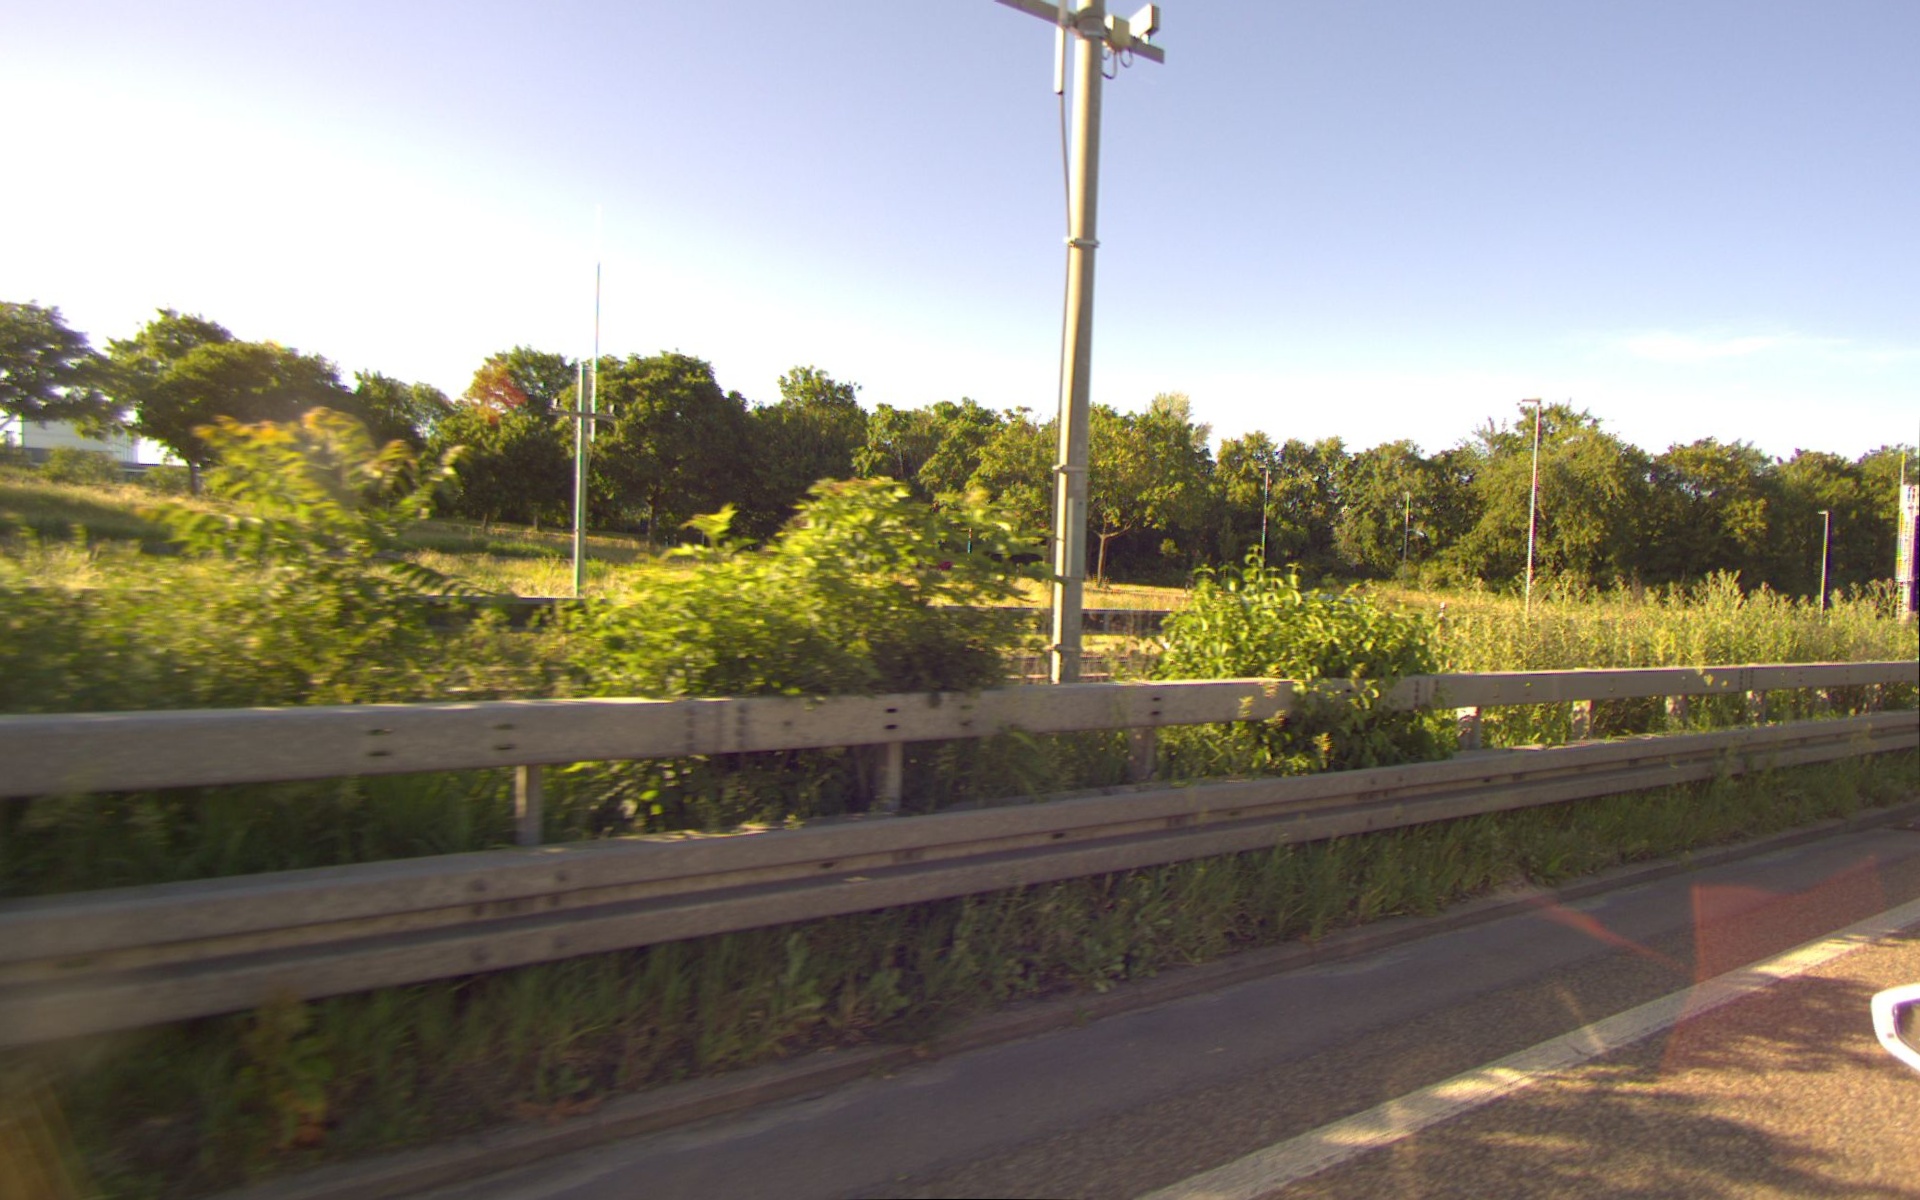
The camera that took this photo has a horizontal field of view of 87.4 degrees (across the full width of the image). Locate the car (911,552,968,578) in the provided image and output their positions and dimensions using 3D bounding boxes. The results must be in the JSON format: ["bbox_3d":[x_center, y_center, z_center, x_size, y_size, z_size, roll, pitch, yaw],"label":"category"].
[{"bbox_3d":[-1.827,-3.107,89.198,4.839,2.041,2.000,2,1,3],"label":"car"}]

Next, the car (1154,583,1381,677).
[{"bbox_3d":[5.716,0.523,18.613,3.953,1.582,1.832,1,0,-30],"label":"car"}]
